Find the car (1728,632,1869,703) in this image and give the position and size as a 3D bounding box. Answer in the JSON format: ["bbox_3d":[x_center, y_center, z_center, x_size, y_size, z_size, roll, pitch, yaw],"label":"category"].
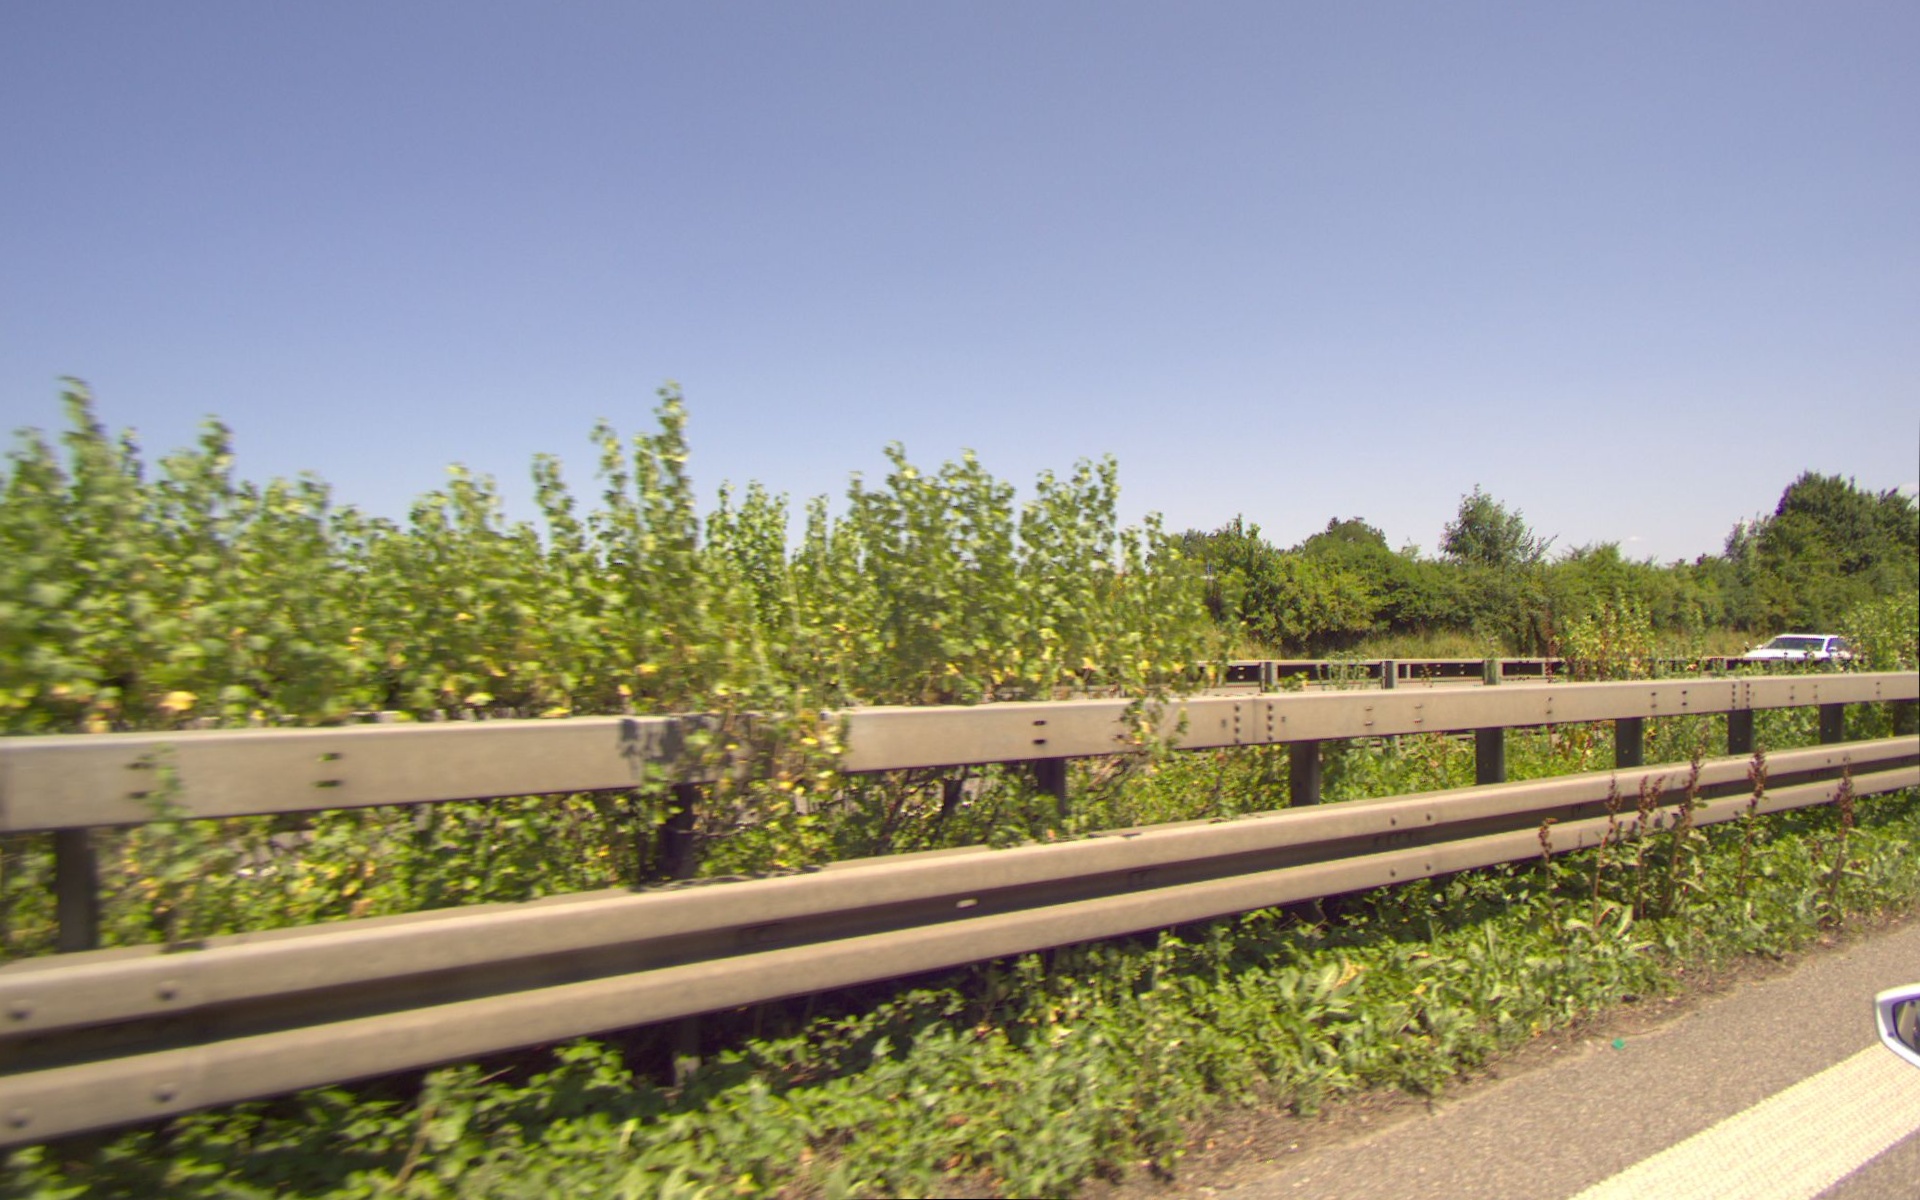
[{"bbox_3d":[24.240,1.883,29.016,4.238,1.840,1.792,1,1,-30],"label":"car"}]
